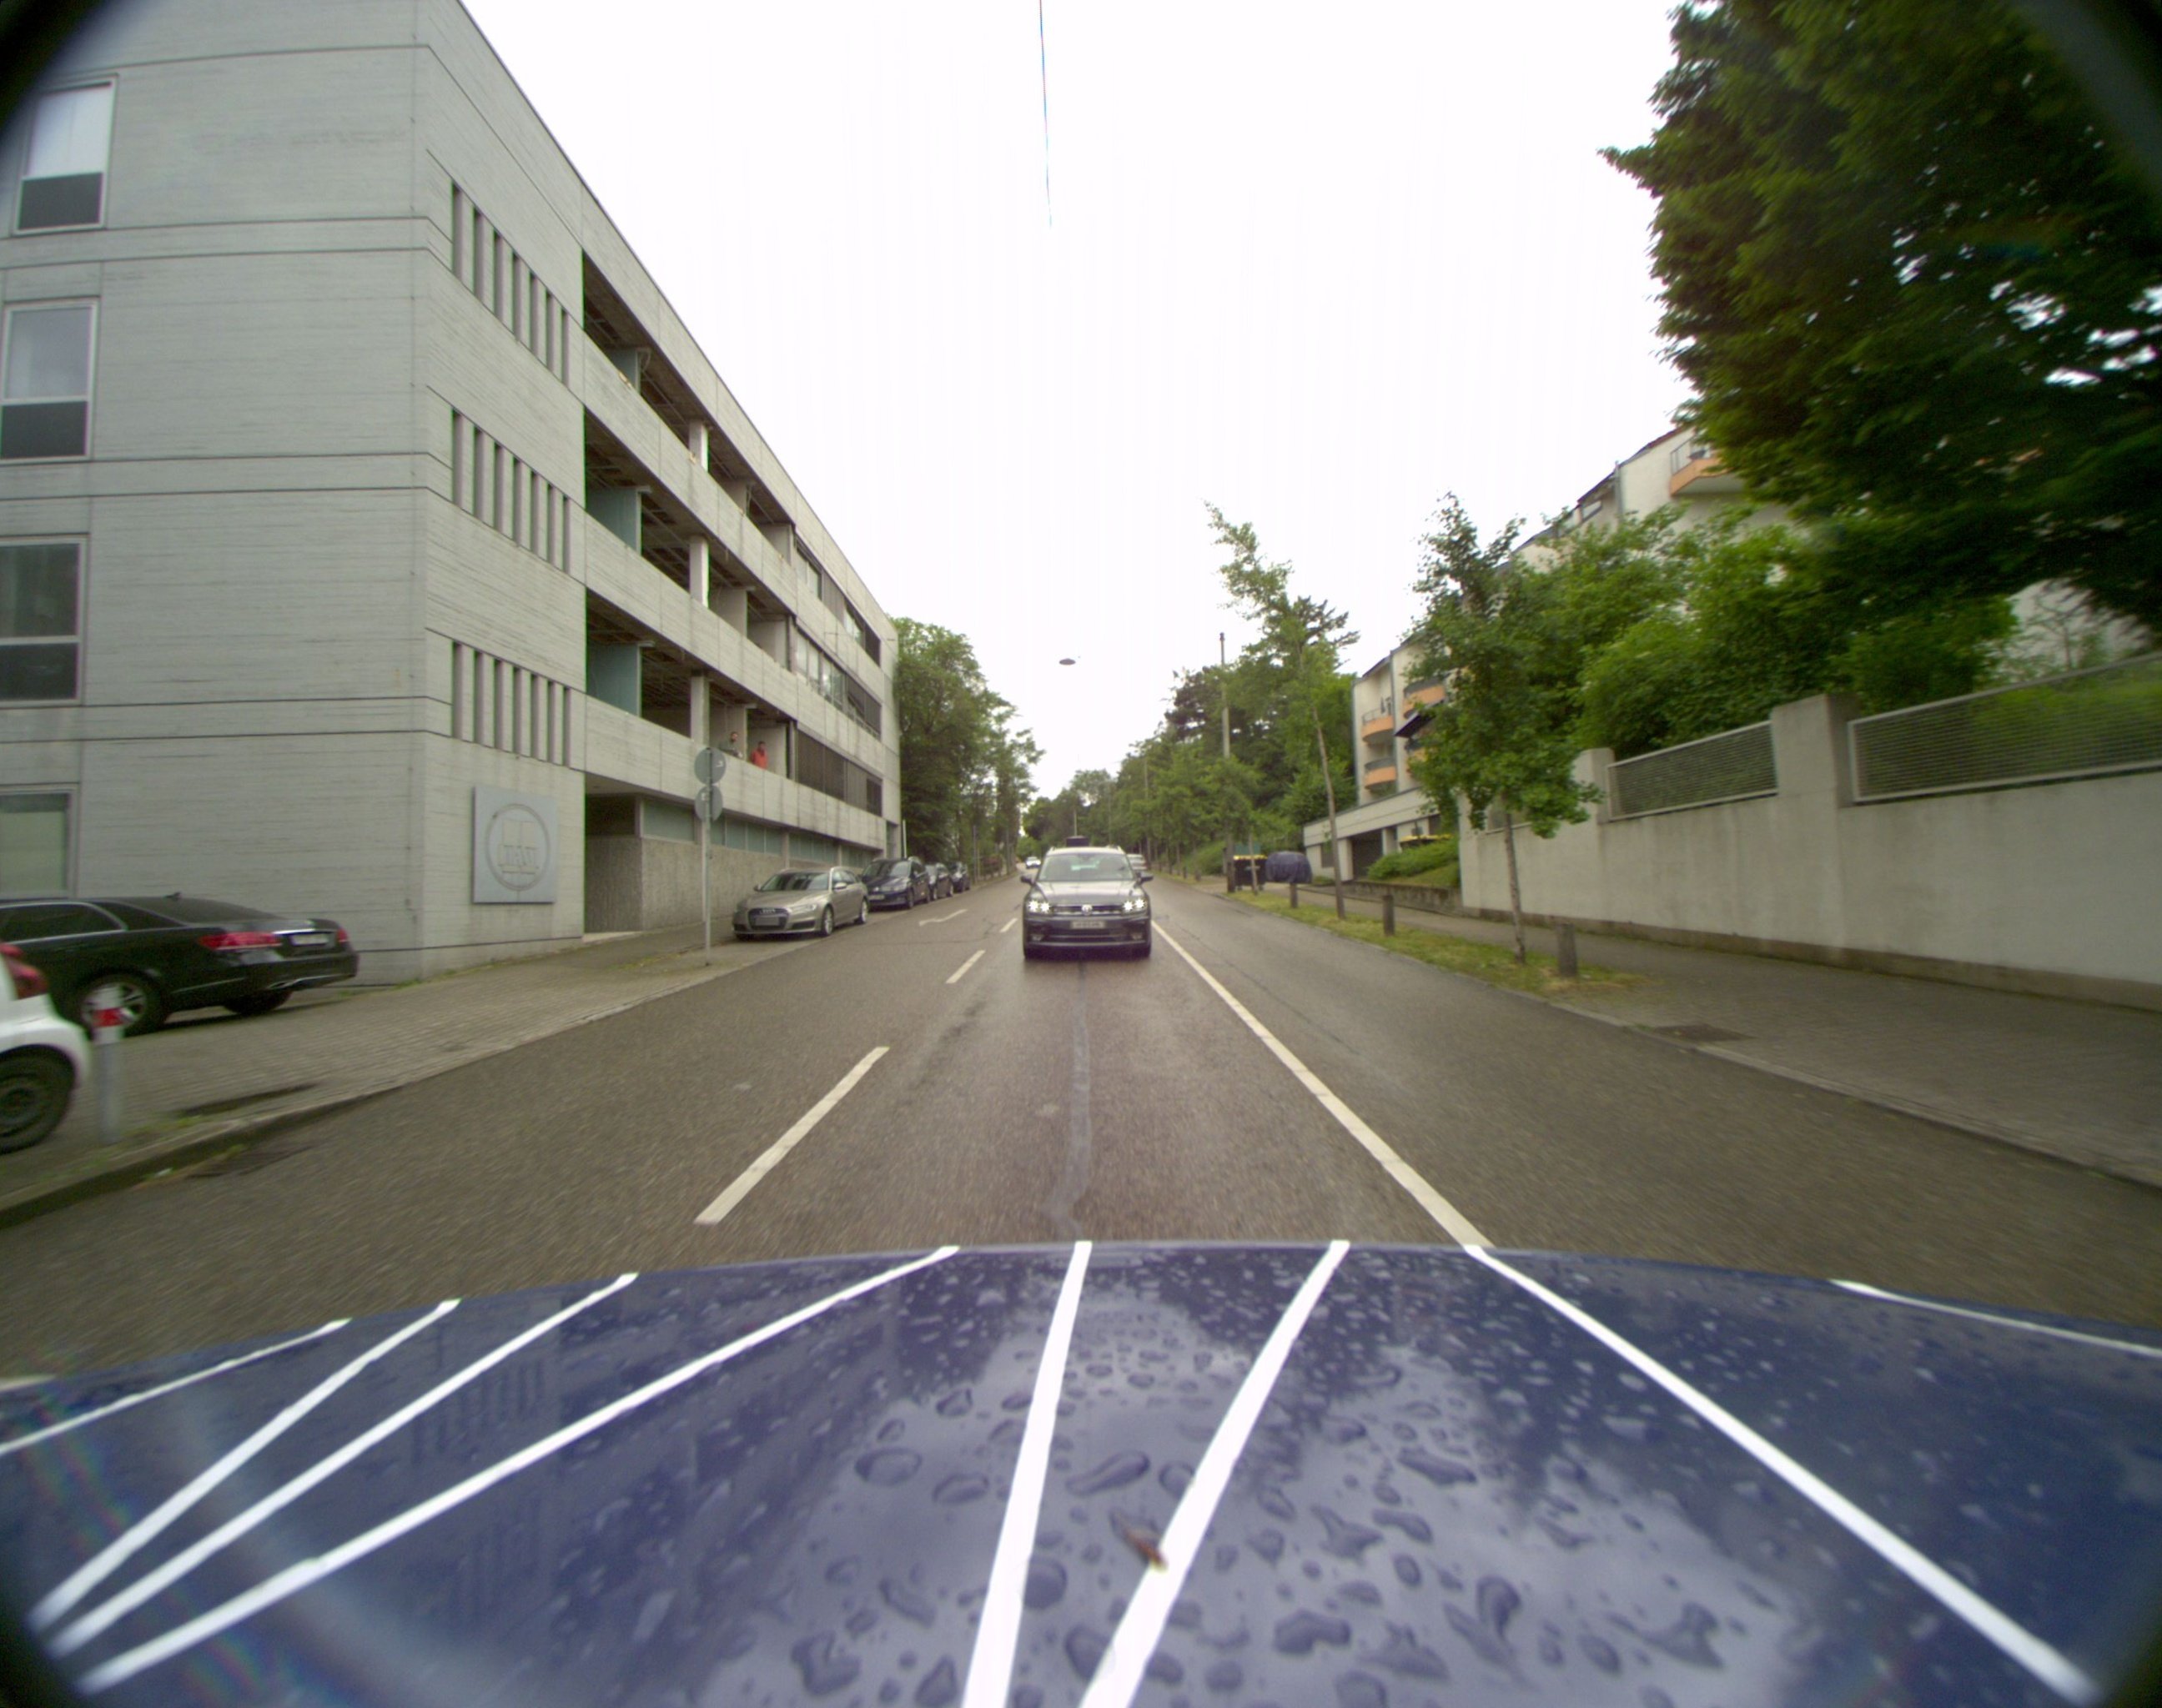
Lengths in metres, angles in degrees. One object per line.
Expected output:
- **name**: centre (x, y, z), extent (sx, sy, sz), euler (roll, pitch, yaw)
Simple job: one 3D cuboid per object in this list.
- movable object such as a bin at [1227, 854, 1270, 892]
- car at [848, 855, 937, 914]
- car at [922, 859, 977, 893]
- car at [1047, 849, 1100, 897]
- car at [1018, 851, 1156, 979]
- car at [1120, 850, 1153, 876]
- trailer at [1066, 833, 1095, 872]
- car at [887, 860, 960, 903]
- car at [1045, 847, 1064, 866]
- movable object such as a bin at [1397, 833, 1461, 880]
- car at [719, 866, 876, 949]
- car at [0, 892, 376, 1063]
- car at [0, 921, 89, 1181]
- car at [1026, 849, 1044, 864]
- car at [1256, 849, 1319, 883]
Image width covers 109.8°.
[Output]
- **movable object such as a bin**: centre (6.291, 0.689, 28.531), extent (1.227, 1.342, 1.122), euler (-2, 1, -8)
- **car**: centre (-6.008, 0.911, 24.752), extent (1.749, 1.665, 4.344), euler (-2, 0, 0)
- **car**: centre (-6.085, 0.975, 35.568), extent (1.843, 1.436, 4.155), euler (-1, 0, 0)
- **car**: centre (-0.245, 0.654, 28.746), extent (1.786, 1.632, 4.199), euler (-2, 0, 1)
- **car**: centre (0.100, 0.808, 12.176), extent (1.786, 1.632, 4.199), euler (-2, 0, 1)
- **car**: centre (3.503, 0.552, 48.320), extent (1.723, 1.377, 4.284), euler (-4, 1, 1)
- **trailer**: centre (-0.053, -0.141, 53.531), extent (1.771, 2.610, 3.031), euler (-3, 1, -3)
- **car**: centre (-6.032, 1.014, 29.534), extent (1.710, 1.436, 4.098), euler (-2, 0, 3)
- **car**: centre (-2.968, 0.275, 85.114), extent (1.999, 2.002, 3.998), euler (-2, 1, -2)
- **movable object such as a bin**: centre (10.431, 0.096, 22.803), extent (1.266, 1.307, 1.162), euler (-2, -3, -8)
- **car**: centre (-6.108, 1.065, 17.046), extent (1.819, 1.451, 4.740), euler (-2, 0, -2)
- **car**: centre (-10.644, 1.285, 7.947), extent (4.370, 1.399, 1.806), euler (-3, 1, -15)
- **car**: centre (-6.690, 1.106, 2.809), extent (1.591, 1.403, 3.455), euler (0, 0, -3)
- **car**: centre (-6.632, 0.363, 109.370), extent (2.000, 2.002, 3.995), euler (-2, 1, -11)
- **car**: centre (9.939, 0.560, 36.844), extent (1.856, 1.483, 3.865), euler (2, 0, -1)
